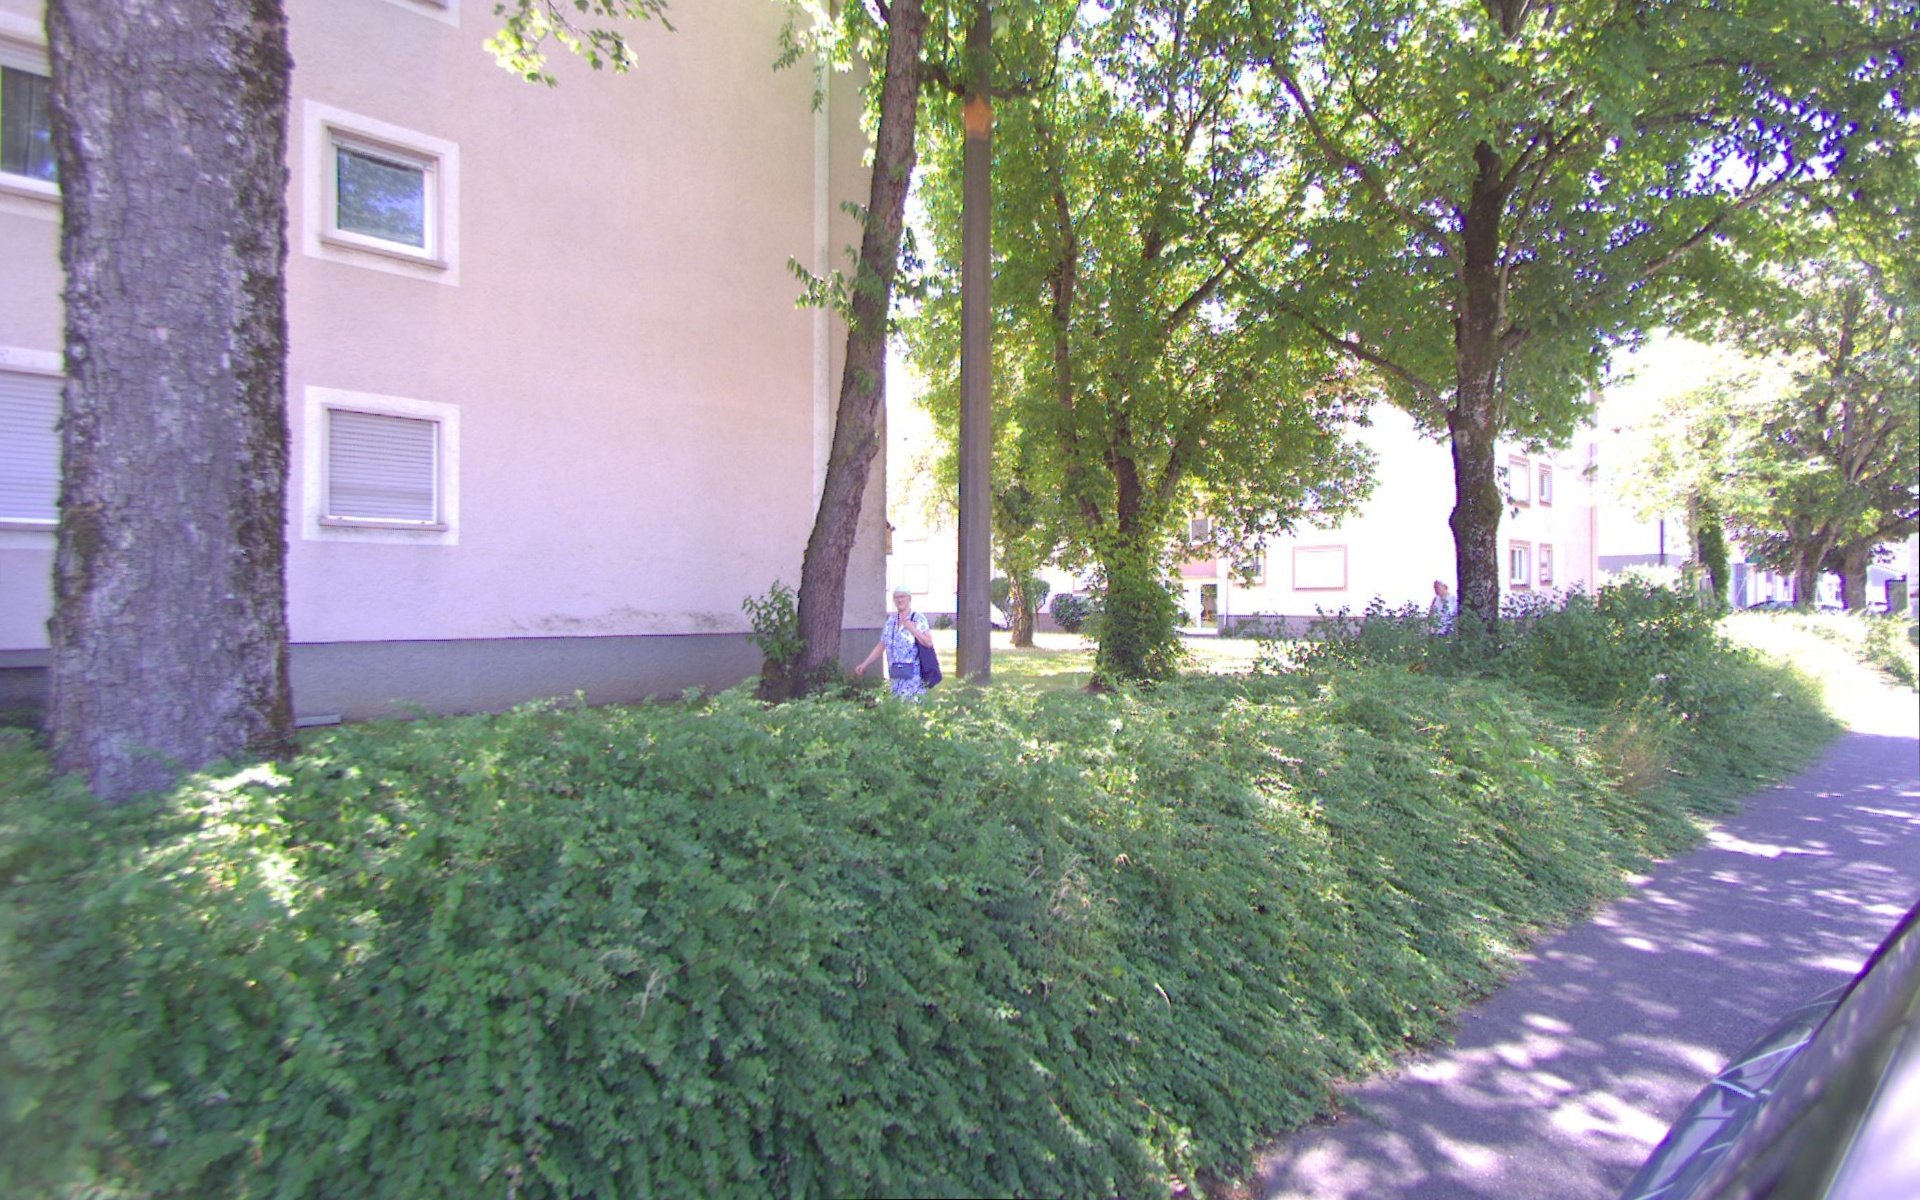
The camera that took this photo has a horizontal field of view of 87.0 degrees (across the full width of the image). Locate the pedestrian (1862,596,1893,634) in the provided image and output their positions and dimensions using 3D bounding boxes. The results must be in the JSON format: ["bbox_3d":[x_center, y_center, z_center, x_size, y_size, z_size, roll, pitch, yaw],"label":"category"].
[{"bbox_3d":[41.872,0.672,46.190,0.991,1.662,0.842,0,0,-36],"label":"pedestrian"}]

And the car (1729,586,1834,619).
[{"bbox_3d":[42.655,0.077,52.622,1.766,1.569,3.995,-1,2,-41],"label":"car"}]

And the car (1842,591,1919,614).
[{"bbox_3d":[70.720,0.138,77.394,1.958,1.662,4.606,0,1,-21],"label":"car"}]

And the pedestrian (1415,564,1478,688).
[{"bbox_3d":[7.831,0.393,16.287,0.648,1.938,0.705,0,0,-38],"label":"pedestrian"}]

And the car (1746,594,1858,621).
[{"bbox_3d":[45.517,0.382,54.843,4.315,1.388,1.937,0,0,27],"label":"car"}]

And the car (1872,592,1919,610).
[{"bbox_3d":[76.365,0.071,81.453,1.768,1.479,4.007,0,1,-25],"label":"car"}]

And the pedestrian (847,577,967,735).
[{"bbox_3d":[-0.481,0.477,9.202,0.873,1.351,0.663,0,0,-41],"label":"pedestrian"}]
